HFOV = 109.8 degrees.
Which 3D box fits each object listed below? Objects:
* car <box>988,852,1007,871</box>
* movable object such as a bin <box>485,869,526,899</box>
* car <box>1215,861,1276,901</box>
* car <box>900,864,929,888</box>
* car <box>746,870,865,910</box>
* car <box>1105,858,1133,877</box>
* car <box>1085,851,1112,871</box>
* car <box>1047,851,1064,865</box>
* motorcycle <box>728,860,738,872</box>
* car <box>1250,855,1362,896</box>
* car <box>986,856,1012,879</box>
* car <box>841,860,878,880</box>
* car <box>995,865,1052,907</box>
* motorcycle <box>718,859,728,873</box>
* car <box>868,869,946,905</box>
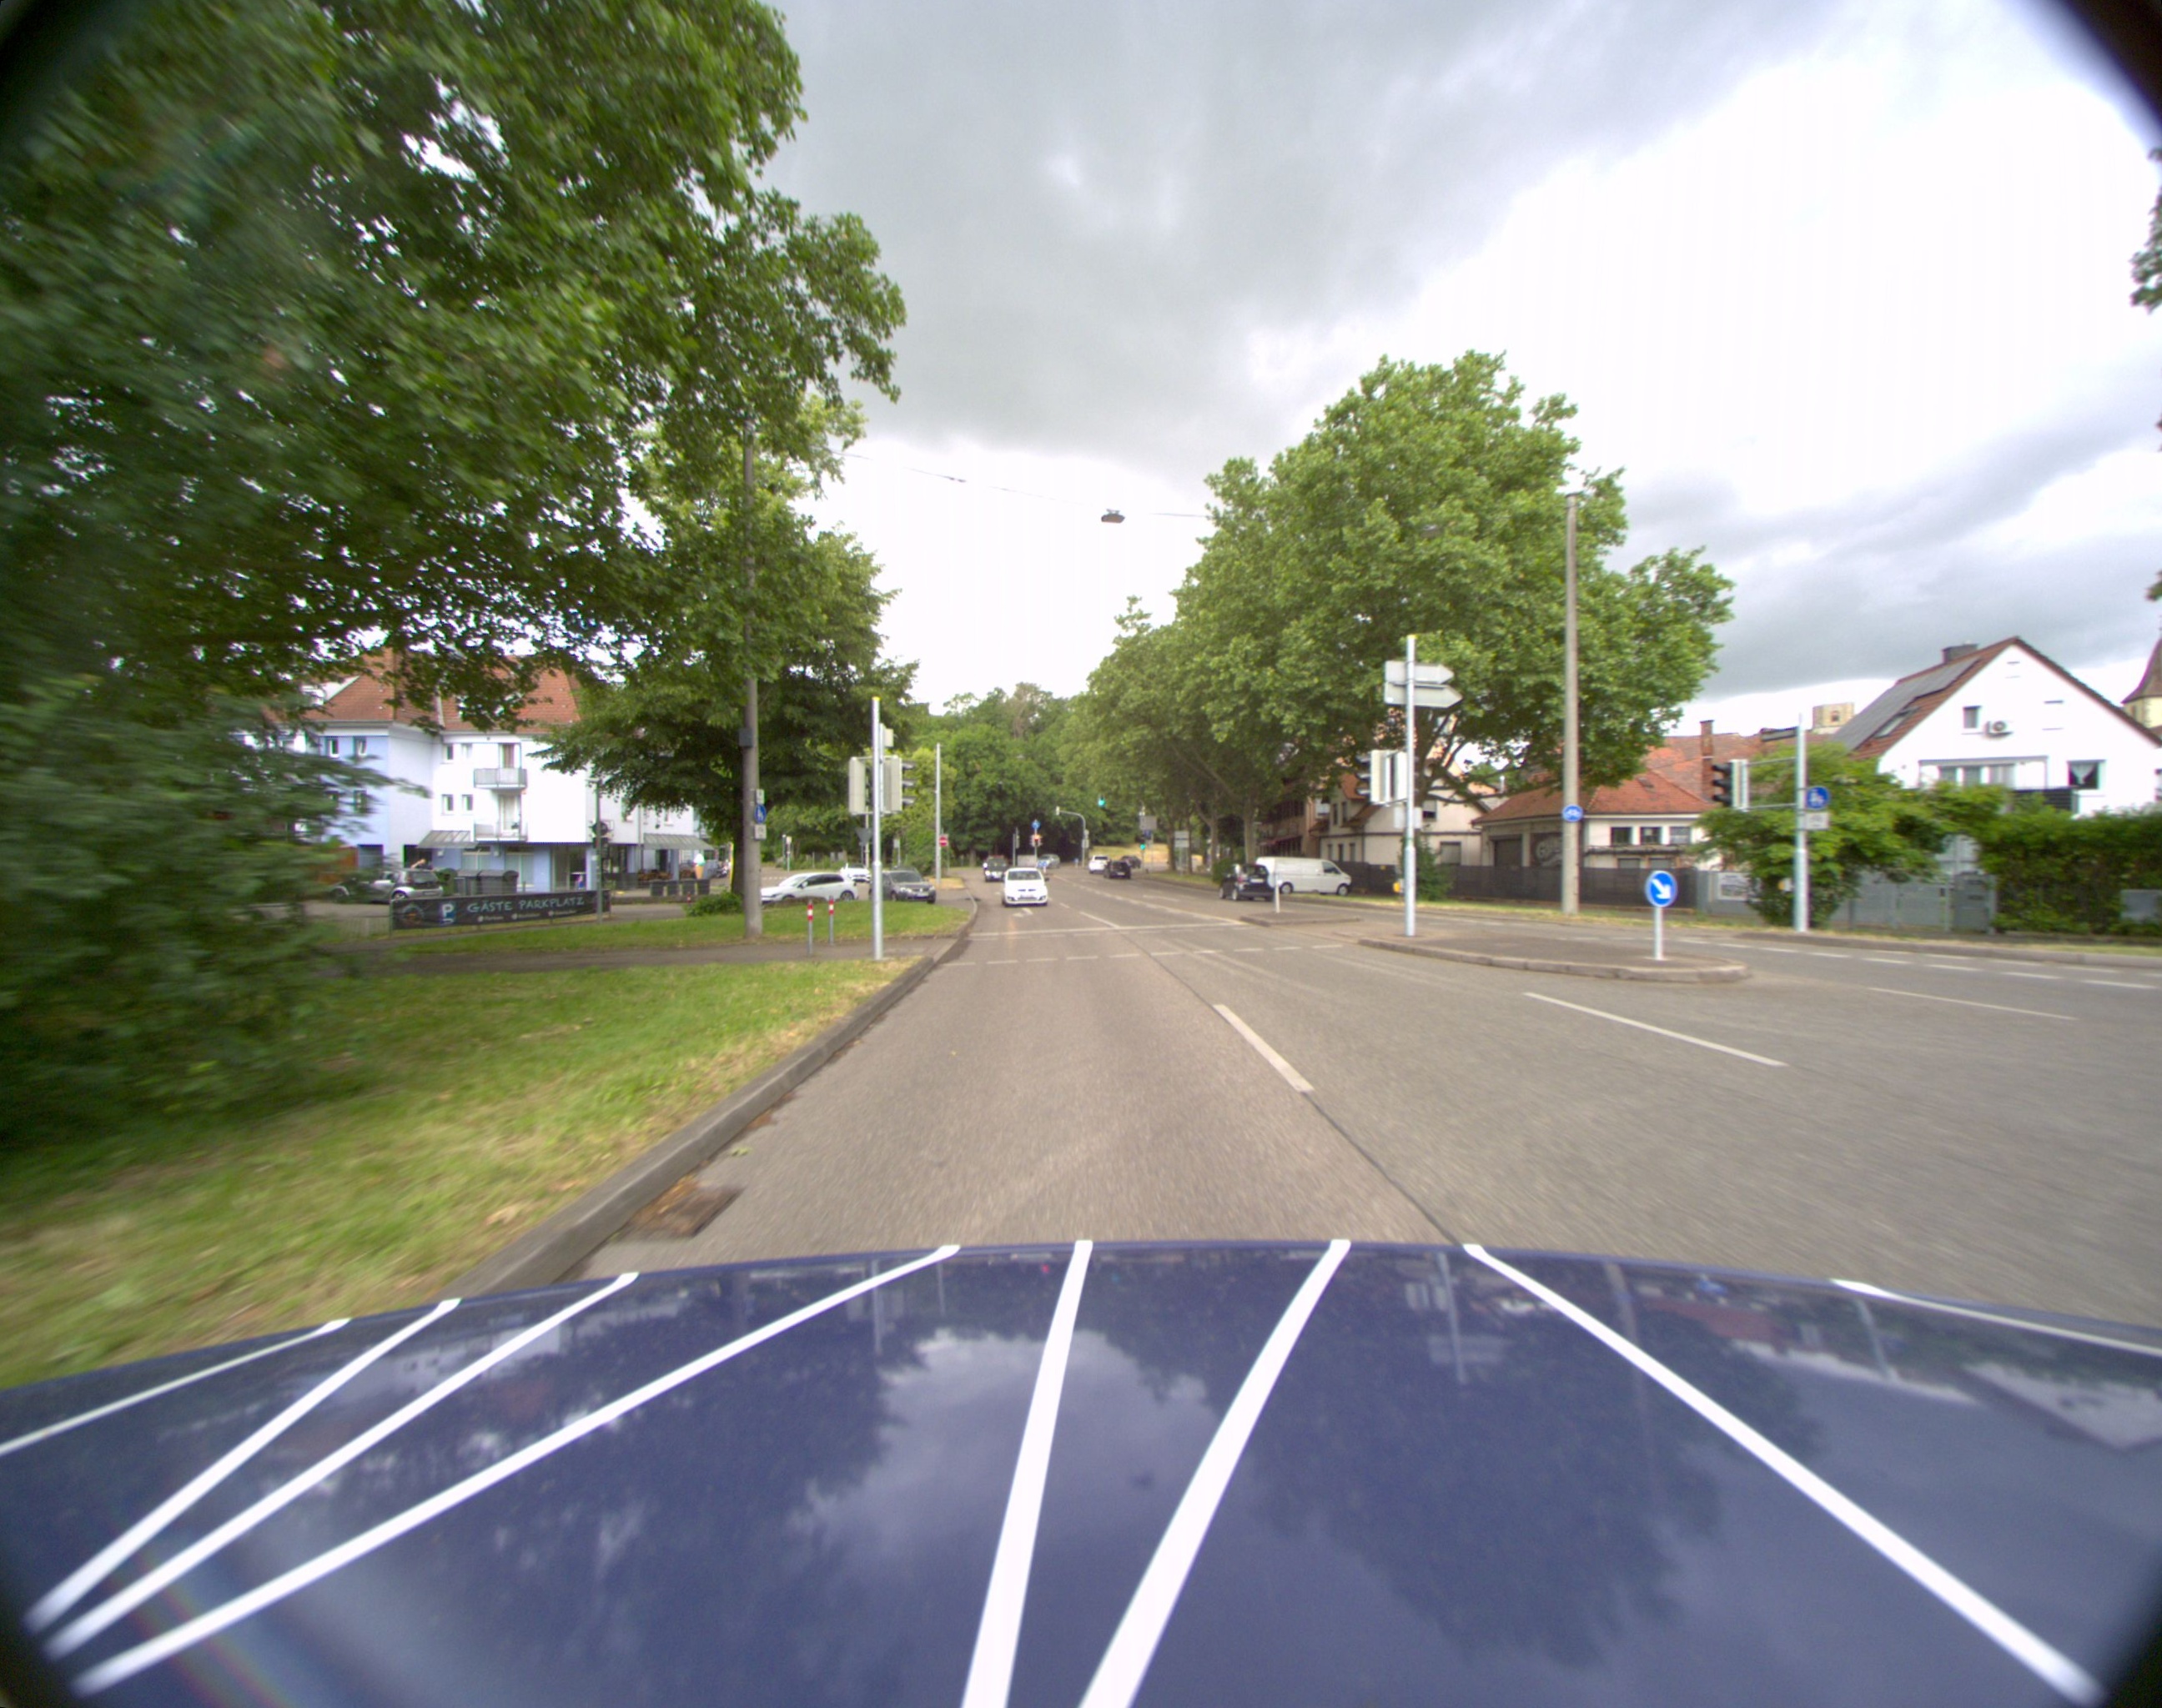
[{"bbox_3d":[-7.655,0.699,69.328,1.676,1.632,4.097,0,1,-7],"label":"car"},{"bbox_3d":[-29.001,1.507,38.279,1.216,1.408,1.095,1,1,8],"label":"movable object such as a bin"},{"bbox_3d":[6.830,1.109,31.898,1.573,1.518,3.188,2,-1,-5],"label":"car"},{"bbox_3d":[-10.403,1.332,47.657,1.573,1.396,3.491,0,0,-9],"label":"car"},{"bbox_3d":[-11.218,1.421,31.180,1.759,1.372,4.270,0,0,40],"label":"car"},{"bbox_3d":[2.916,0.997,58.665,1.573,1.374,3.947,1,0,-5],"label":"car"},{"bbox_3d":[1.567,0.631,70.490,1.917,1.753,4.750,0,0,-5],"label":"car"},{"bbox_3d":[-3.001,0.432,88.471,1.783,1.560,3.998,0,1,-3],"label":"car"},{"bbox_3d":[-29.122,0.975,63.521,0.522,0.980,1.820,0,1,-18],"label":"motorcycle"},{"bbox_3d":[11.535,1.082,38.976,5.249,1.920,2.080,2,0,-20],"label":"car"},{"bbox_3d":[-5.990,0.948,55.188,1.732,1.512,3.996,0,1,-9],"label":"car"},{"bbox_3d":[-17.276,1.243,59.215,2.003,1.378,4.777,0,1,-26],"label":"car"},{"bbox_3d":[-2.336,1.210,30.094,1.630,1.499,3.995,-1,0,-14],"label":"car"},{"bbox_3d":[-28.397,0.941,60.228,0.490,1.025,1.722,0,1,-18],"label":"motorcycle"},{"bbox_3d":[-7.466,1.362,32.365,1.737,1.420,4.102,-1,-1,-36],"label":"car"}]
